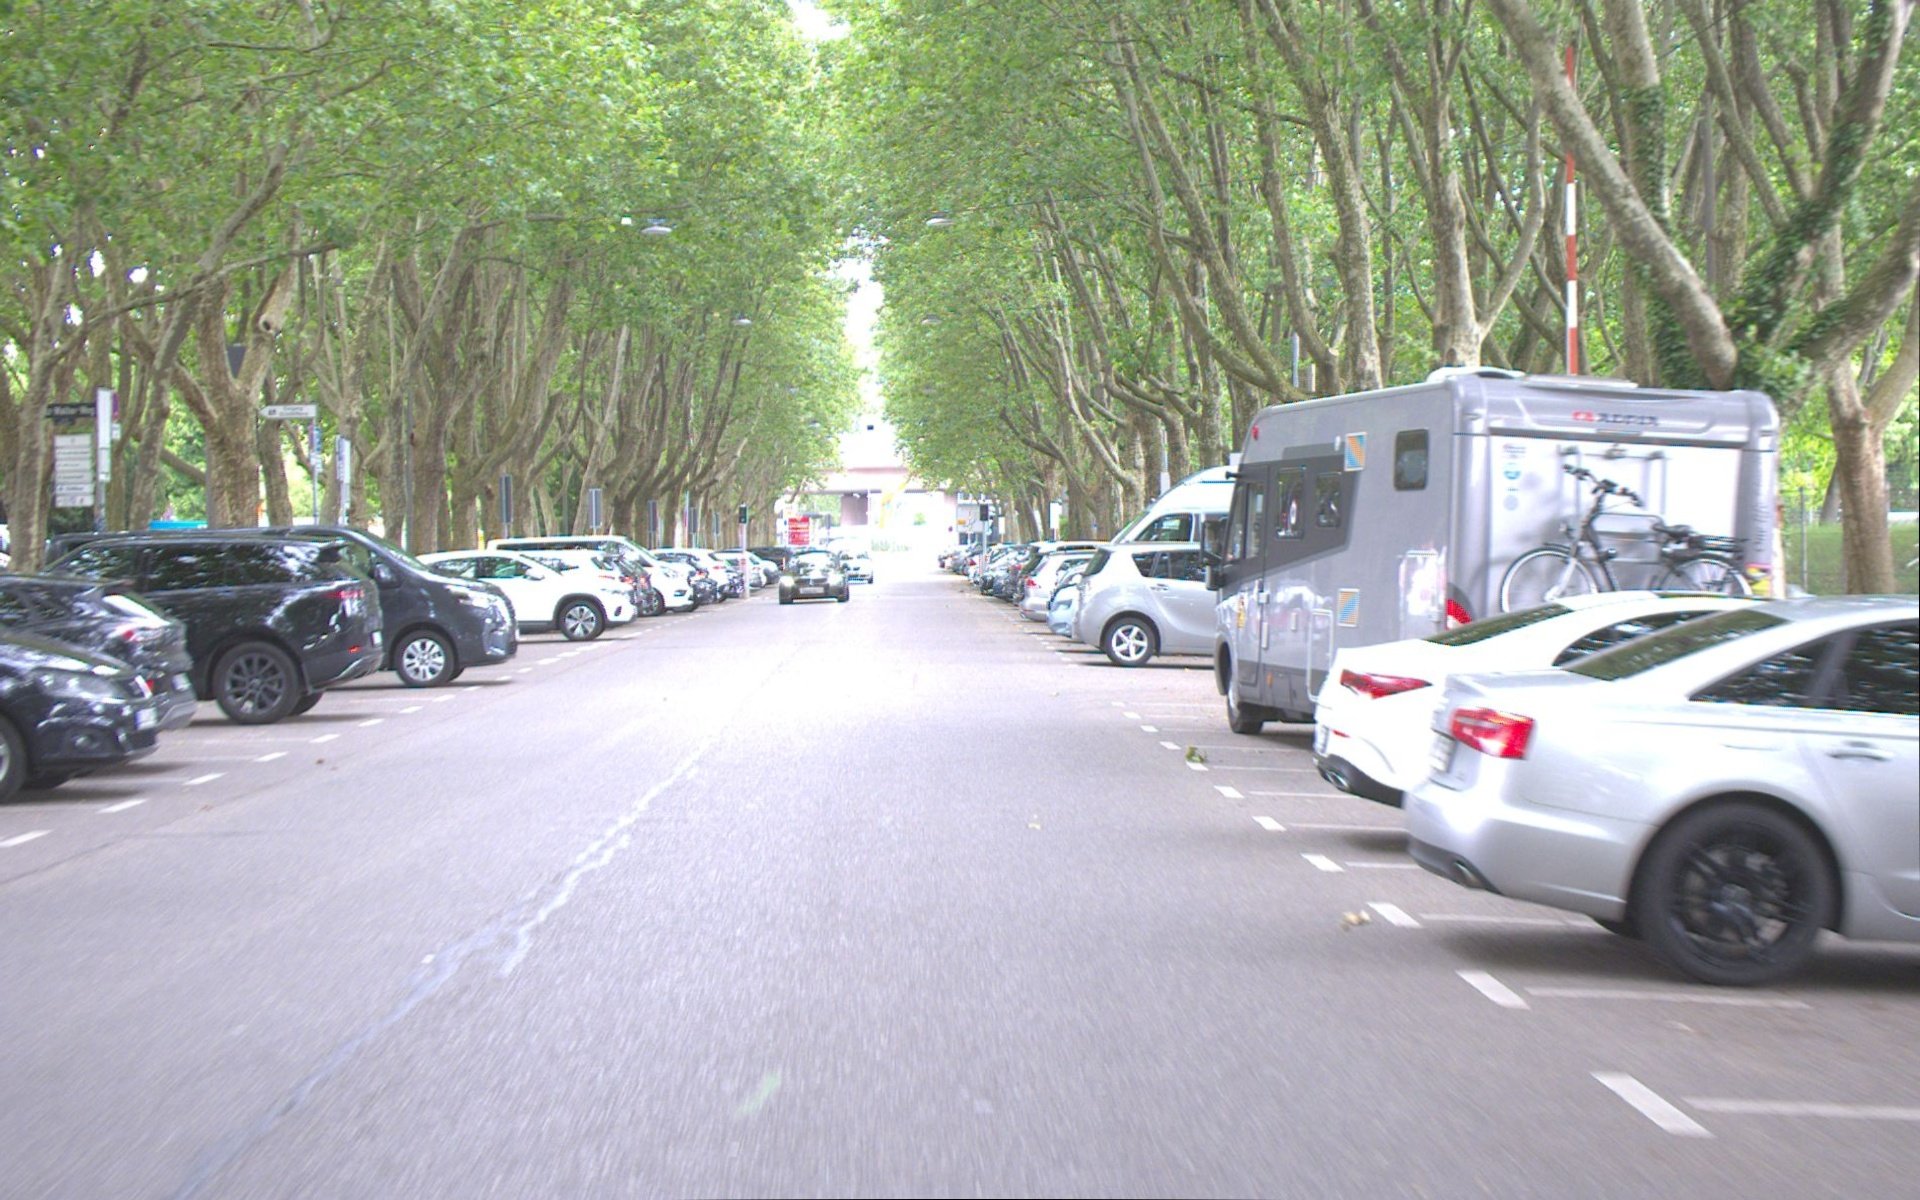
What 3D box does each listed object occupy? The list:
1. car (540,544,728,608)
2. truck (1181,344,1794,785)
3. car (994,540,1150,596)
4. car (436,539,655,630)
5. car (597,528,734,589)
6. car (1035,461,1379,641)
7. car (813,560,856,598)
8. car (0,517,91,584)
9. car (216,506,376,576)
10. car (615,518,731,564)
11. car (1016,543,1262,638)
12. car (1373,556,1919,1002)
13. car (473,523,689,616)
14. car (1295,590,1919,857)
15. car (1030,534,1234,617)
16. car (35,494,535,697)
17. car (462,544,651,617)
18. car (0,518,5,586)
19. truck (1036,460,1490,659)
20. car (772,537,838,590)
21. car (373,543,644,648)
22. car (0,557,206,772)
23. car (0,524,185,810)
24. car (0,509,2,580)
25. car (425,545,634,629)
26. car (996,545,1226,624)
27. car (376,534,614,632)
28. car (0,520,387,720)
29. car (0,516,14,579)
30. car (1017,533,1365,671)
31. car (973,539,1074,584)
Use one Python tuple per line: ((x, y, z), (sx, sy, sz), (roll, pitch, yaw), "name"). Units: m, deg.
((-8.194, -0.609, 86.725), (4.449, 1.447, 1.774), (-2, 1, 4), "car")
((3.789, -0.295, 26.729), (2.458, 2.927, 7.540), (1, 1, -9), "truck")
((2.831, -0.817, 87.118), (3.826, 1.384, 1.694), (1, 1, -2), "car")
((-8.663, -0.342, 72.189), (4.340, 1.662, 2.000), (-3, 1, -2), "car")
((-8.463, -1.195, 98.946), (3.826, 1.622, 1.953), (-2, 1, -3), "car")
((3.854, -0.774, 54.295), (5.228, 2.680, 1.957), (1, 1, 0), "car")
((-5.151, -0.868, 140.764), (1.689, 1.466, 3.840), (-2, 1, -2), "car")
((-36.681, -1.906, 132.158), (6.001, 2.518, 2.000), (1, 1, -1), "car")
((-25.558, -2.278, 132.450), (5.786, 2.588, 2.000), (1, 1, 0), "car")
((-9.680, -1.984, 116.213), (3.826, 1.425, 1.695), (-2, 1, -3), "car")
((3.062, -0.166, 59.437), (4.119, 1.424, 1.703), (3, 0, 1), "car")
((3.848, 0.719, 12.954), (4.360, 1.440, 1.612), (4, 1, 3), "car")
((-8.952, -0.735, 81.514), (4.893, 2.012, 1.920), (-2, 1, -1), "car")
((4.035, 0.633, 18.307), (4.320, 1.297, 1.700), (1, 1, 0), "car")
((3.814, -0.556, 76.687), (4.384, 1.749, 1.801), (1, 1, -2), "car")
((-7.841, -0.081, 40.310), (5.435, 2.120, 1.940), (-2, 2, -2), "car")
((-8.944, -0.435, 76.395), (3.986, 1.408, 1.683), (-3, 1, -3), "car")
((-35.967, -1.675, 117.690), (6.001, 2.310, 2.000), (1, 1, -1), "car")
((4.269, -0.587, 49.110), (6.294, 2.706, 2.098), (1, 1, 2), "truck")
((-4.327, -1.014, 95.588), (1.654, 1.359, 4.113), (-3, 1, -4), "car")
((-7.662, -0.095, 58.700), (4.379, 1.591, 2.000), (-2, 1, -2), "car")
((-7.633, 0.512, 25.507), (3.896, 1.489, 1.754), (-3, 1, -13), "car")
((-7.699, 0.488, 22.916), (4.579, 1.775, 1.798), (-2, 2, 1), "car")
((-36.797, -1.973, 120.297), (6.001, 2.518, 2.000), (1, 1, -1), "car")
((-8.663, -0.276, 69.389), (3.986, 1.470, 1.843), (-3, 1, -3), "car")
((3.032, -0.325, 69.693), (4.501, 1.521, 1.703), (1, 1, -2), "car")
((-8.972, -0.335, 66.629), (4.340, 1.662, 2.000), (-3, 1, -2), "car")
((-7.868, 0.196, 32.799), (4.652, 1.814, 1.806), (-1, 0, -7), "car")
((-37.007, -1.922, 122.544), (6.001, 2.232, 2.000), (1, 1, -1), "car")
((2.941, 0.008, 44.321), (4.340, 1.612, 1.803), (2, 1, 2), "car")
((2.381, -1.449, 129.511), (3.645, 1.661, 1.519), (1, 1, -4), "car")
